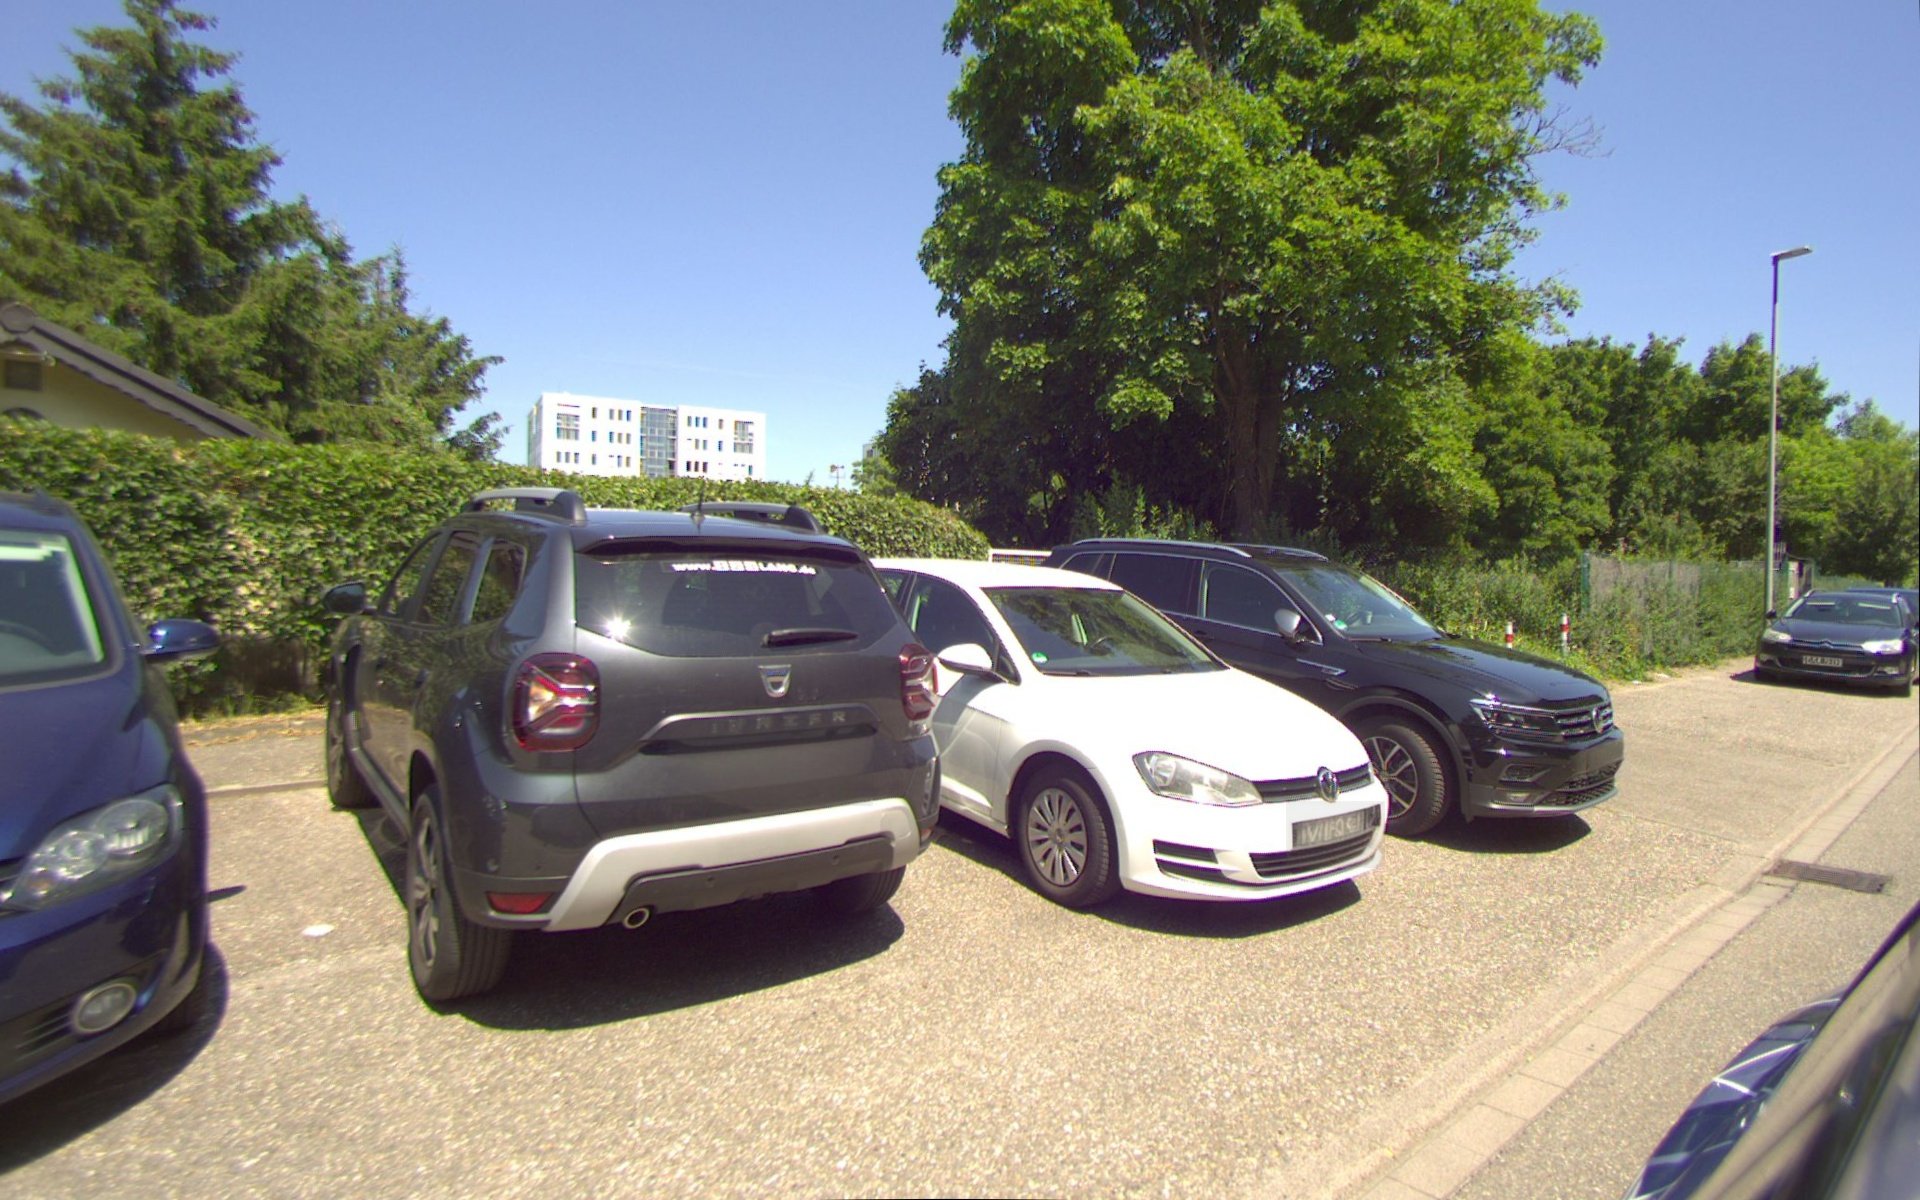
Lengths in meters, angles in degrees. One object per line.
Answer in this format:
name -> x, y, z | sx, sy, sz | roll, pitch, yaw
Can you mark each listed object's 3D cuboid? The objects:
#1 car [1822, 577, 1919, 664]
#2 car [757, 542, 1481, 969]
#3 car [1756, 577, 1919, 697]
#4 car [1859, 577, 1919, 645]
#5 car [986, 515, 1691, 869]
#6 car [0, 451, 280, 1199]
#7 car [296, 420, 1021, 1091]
car -> 19.354, 0.399, 20.971 | 4.059, 1.623, 1.792 | 0, 1, -43
car -> 0.502, 0.477, 5.822 | 1.797, 1.470, 4.012 | 0, 4, -35
car -> 14.305, 0.495, 16.070 | 4.585, 1.499, 1.793 | 0, 6, -43
car -> 26.109, 0.289, 27.634 | 4.376, 1.678, 1.793 | 0, 4, -43
car -> 2.404, 0.334, 7.501 | 1.880, 1.724, 4.483 | 0, 5, -40
car -> -3.583, 0.327, 3.297 | 1.728, 1.567, 4.057 | 0, 4, -42
car -> -1.843, 0.241, 4.815 | 1.820, 1.718, 4.271 | 0, 4, -38
